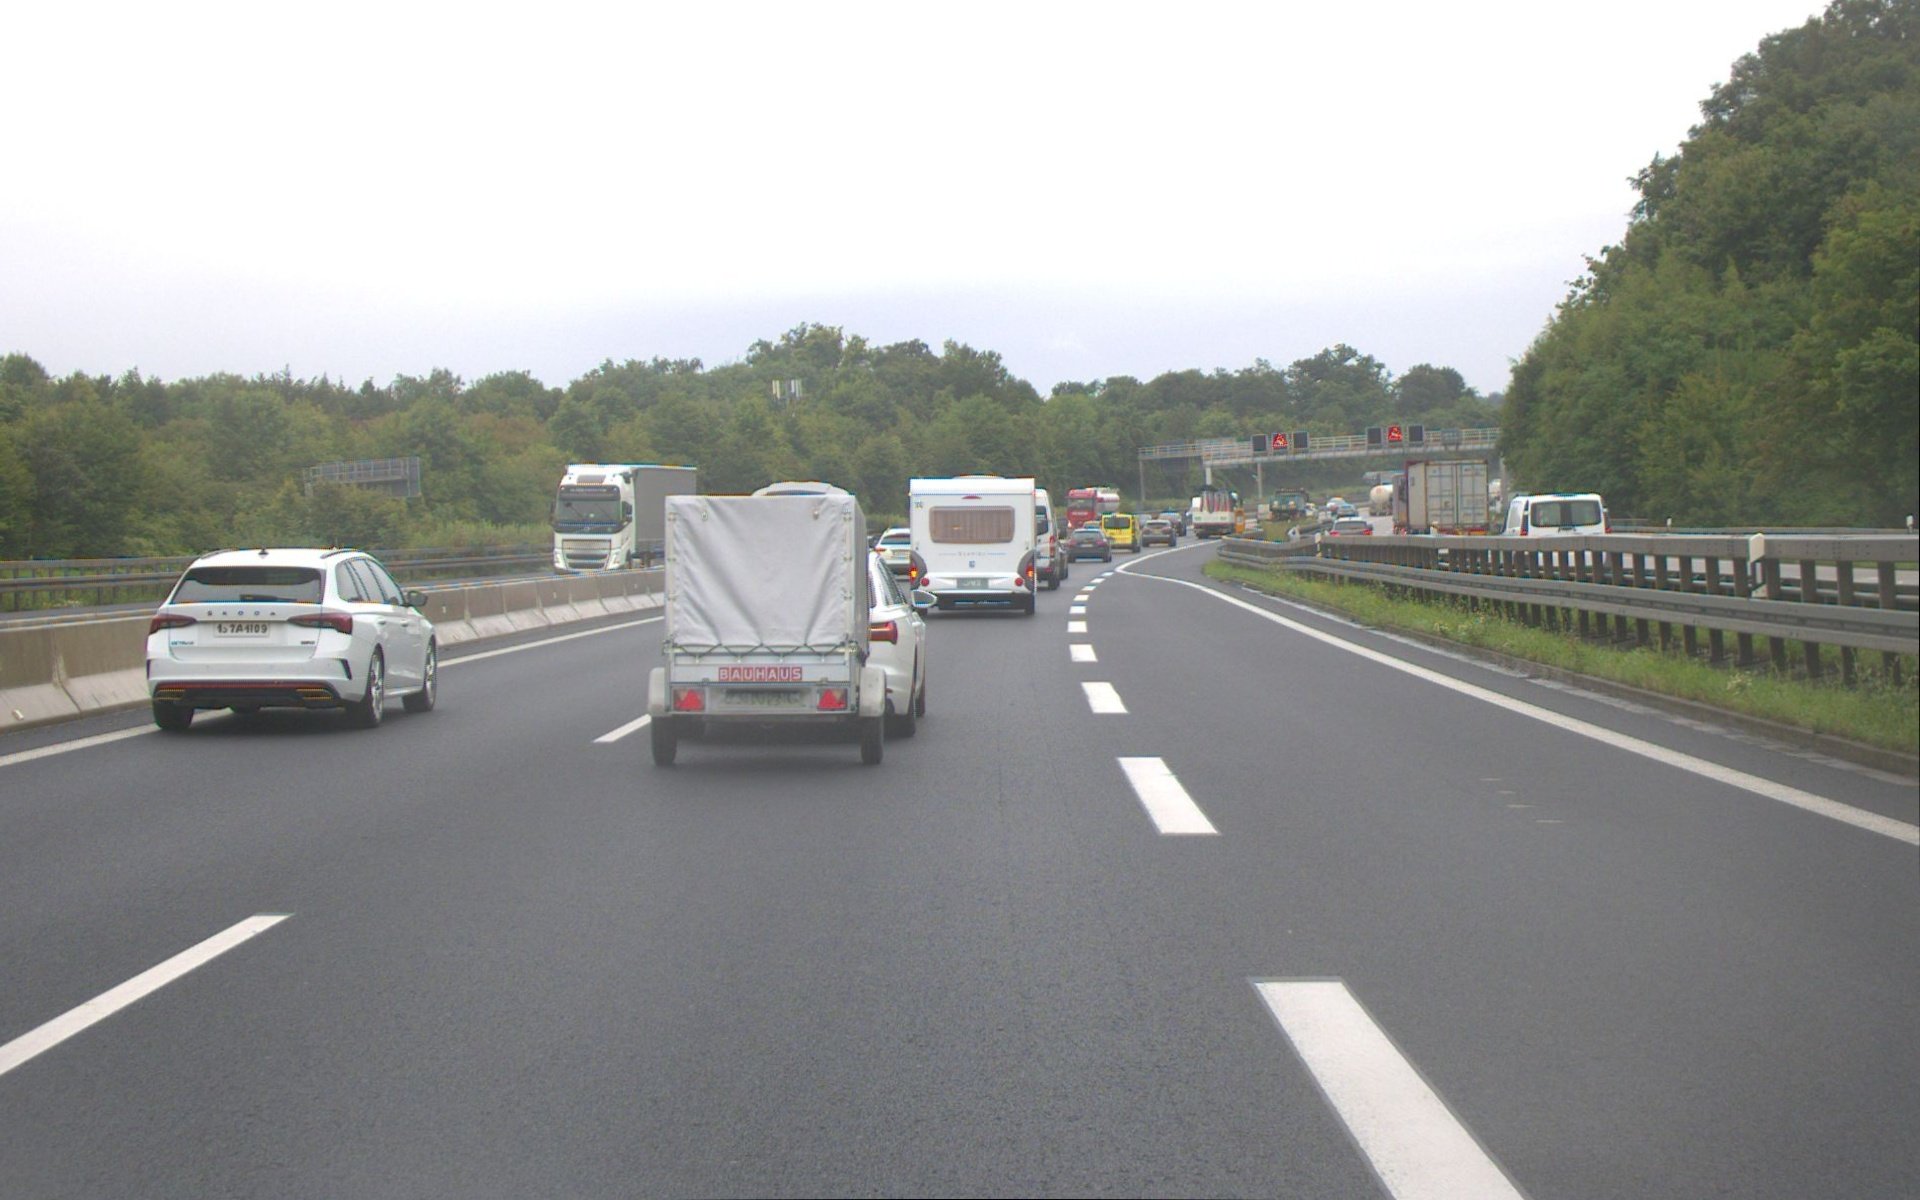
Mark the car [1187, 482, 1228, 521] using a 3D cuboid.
[{"bbox_3d":[17.286,-6.831,239.794,2.516,2.566,5.310,-1,0,7],"label":"car"}]

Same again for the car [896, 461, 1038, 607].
[{"bbox_3d":[0.100,-1.207,64.621,2.507,2.576,5.700,-1,0,-1],"label":"car"}]

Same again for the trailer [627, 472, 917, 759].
[{"bbox_3d":[-1.227,0.084,23.969,1.676,1.806,4.000,-1,0,1],"label":"trailer"}]

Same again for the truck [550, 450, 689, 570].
[{"bbox_3d":[-12.281,-3.181,125.133,2.788,4.078,12.297,-1,1,5],"label":"truck"}]

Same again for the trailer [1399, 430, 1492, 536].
[{"bbox_3d":[19.257,-4.546,136.878,2.604,3.881,12.489,-1,1,3],"label":"trailer"}]

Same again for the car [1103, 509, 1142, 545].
[{"bbox_3d":[8.329,-3.726,176.165,1.676,1.806,3.999,-1,0,7],"label":"car"}]

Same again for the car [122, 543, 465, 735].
[{"bbox_3d":[-5.490,0.277,28.927,1.818,1.451,4.777,-1,1,2],"label":"car"}]

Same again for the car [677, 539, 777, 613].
[{"bbox_3d":[-4.763,-0.493,70.659,1.676,1.451,4.000,-1,0,1],"label":"car"}]

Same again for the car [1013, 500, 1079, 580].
[{"bbox_3d":[2.285,-1.576,91.199,1.676,2.060,4.000,-1,0,2],"label":"car"}]

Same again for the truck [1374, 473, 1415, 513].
[{"bbox_3d":[32.215,-7.945,255.304,2.844,2.716,9.300,-1,1,6],"label":"truck"}]

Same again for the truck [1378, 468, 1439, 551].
[{"bbox_3d":[26.540,-5.300,203.893,3.216,4.650,13.029,-1,0,6],"label":"truck"}]

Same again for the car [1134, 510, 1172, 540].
[{"bbox_3d":[11.256,-4.381,200.475,2.038,1.677,3.999,-1,0,5],"label":"car"}]

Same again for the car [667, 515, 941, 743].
[{"bbox_3d":[-1.136,0.187,27.119,1.818,1.610,4.778,-1,0,1],"label":"car"}]

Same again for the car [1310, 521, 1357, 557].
[{"bbox_3d":[15.224,-2.484,140.192,1.667,1.378,4.125,-3,1,4],"label":"car"}]

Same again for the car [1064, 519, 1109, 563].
[{"bbox_3d":[5.343,-2.465,145.293,1.676,1.806,3.999,-1,0,5],"label":"car"}]

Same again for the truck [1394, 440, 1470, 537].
[{"bbox_3d":[19.647,-4.611,143.300,2.616,3.871,6.391,-1,0,3],"label":"truck"}]

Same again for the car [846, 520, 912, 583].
[{"bbox_3d":[-2.520,-1.507,107.842,1.993,1.912,4.000,-1,0,-1],"label":"car"}]

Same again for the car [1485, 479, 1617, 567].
[{"bbox_3d":[11.833,-1.515,69.101,1.909,1.688,4.719,-1,0,1],"label":"car"}]

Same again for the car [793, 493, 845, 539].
[{"bbox_3d":[-6.113,-3.639,149.565,1.738,1.912,4.316,-1,0,4],"label":"car"}]
